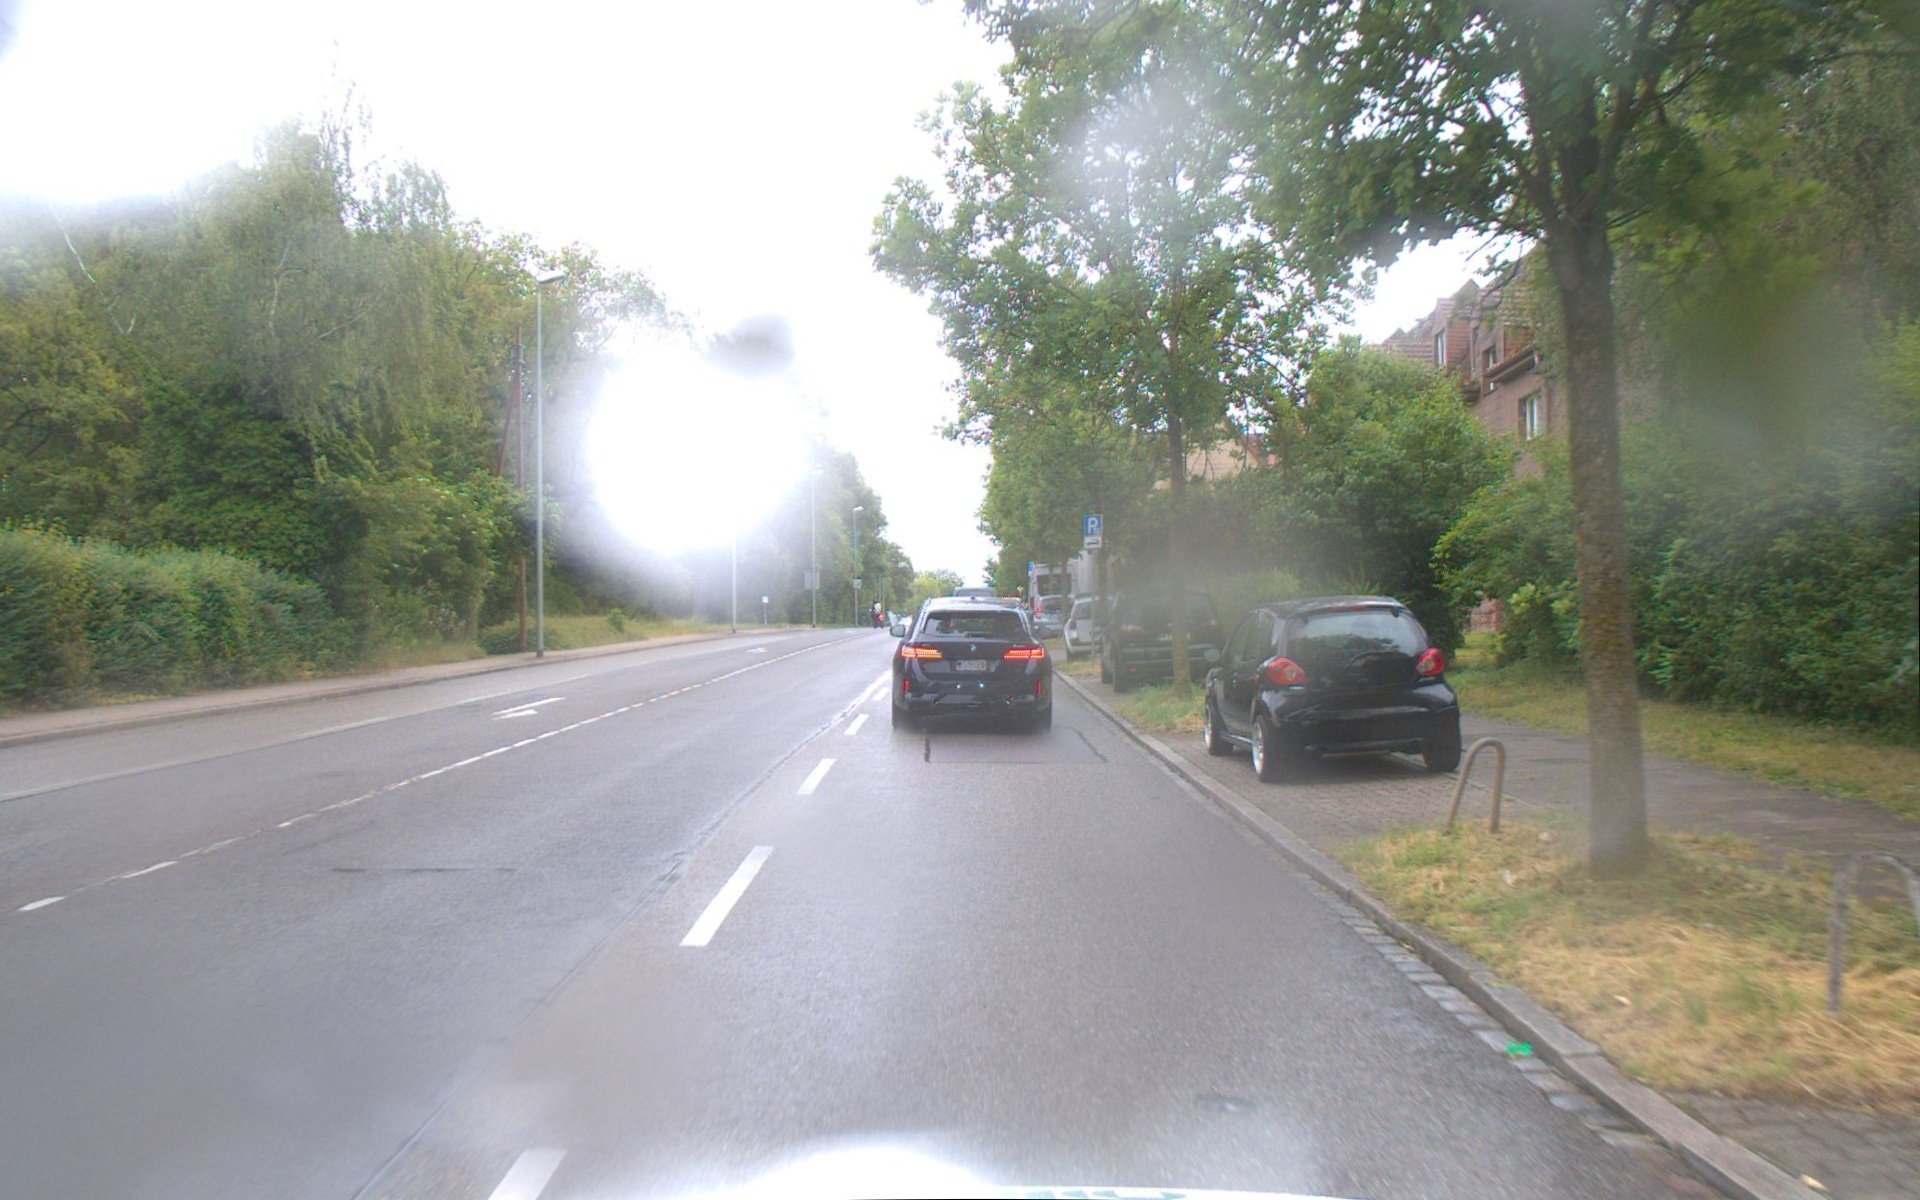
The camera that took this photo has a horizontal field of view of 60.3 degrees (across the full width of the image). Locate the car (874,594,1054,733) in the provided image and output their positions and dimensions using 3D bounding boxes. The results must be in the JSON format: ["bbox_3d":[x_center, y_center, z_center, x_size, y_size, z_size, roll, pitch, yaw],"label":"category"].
[{"bbox_3d":[0.027,0.728,20.308,1.953,1.478,3.999,2,-1,0],"label":"car"}]

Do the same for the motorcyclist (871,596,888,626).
[{"bbox_3d":[-4.673,0.619,95.950,0.640,1.710,0.808,0,-1,42],"label":"motorcyclist"}]

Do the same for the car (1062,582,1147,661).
[{"bbox_3d":[3.318,0.468,38.440,1.786,1.630,4.476,-3,0,4],"label":"car"}]

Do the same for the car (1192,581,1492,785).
[{"bbox_3d":[3.272,0.644,14.901,1.687,1.538,3.785,-2,0,-2],"label":"car"}]

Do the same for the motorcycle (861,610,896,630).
[{"bbox_3d":[-4.735,1.152,95.994,2.151,1.137,0.819,0,0,43],"label":"motorcycle"}]

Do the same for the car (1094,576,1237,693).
[{"bbox_3d":[3.320,0.528,27.497,1.787,1.707,4.584,-3,0,1],"label":"car"}]

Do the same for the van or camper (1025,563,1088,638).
[{"bbox_3d":[3.752,0.013,65.401,2.152,2.697,7.303,-3,0,2],"label":"van or camper"}]

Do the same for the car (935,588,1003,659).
[{"bbox_3d":[0.312,0.722,50.157,1.952,2.049,4.000,0,-1,2],"label":"car"}]

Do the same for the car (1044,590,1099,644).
[{"bbox_3d":[3.597,0.545,53.466,1.634,1.555,3.833,-4,-1,4],"label":"car"}]
